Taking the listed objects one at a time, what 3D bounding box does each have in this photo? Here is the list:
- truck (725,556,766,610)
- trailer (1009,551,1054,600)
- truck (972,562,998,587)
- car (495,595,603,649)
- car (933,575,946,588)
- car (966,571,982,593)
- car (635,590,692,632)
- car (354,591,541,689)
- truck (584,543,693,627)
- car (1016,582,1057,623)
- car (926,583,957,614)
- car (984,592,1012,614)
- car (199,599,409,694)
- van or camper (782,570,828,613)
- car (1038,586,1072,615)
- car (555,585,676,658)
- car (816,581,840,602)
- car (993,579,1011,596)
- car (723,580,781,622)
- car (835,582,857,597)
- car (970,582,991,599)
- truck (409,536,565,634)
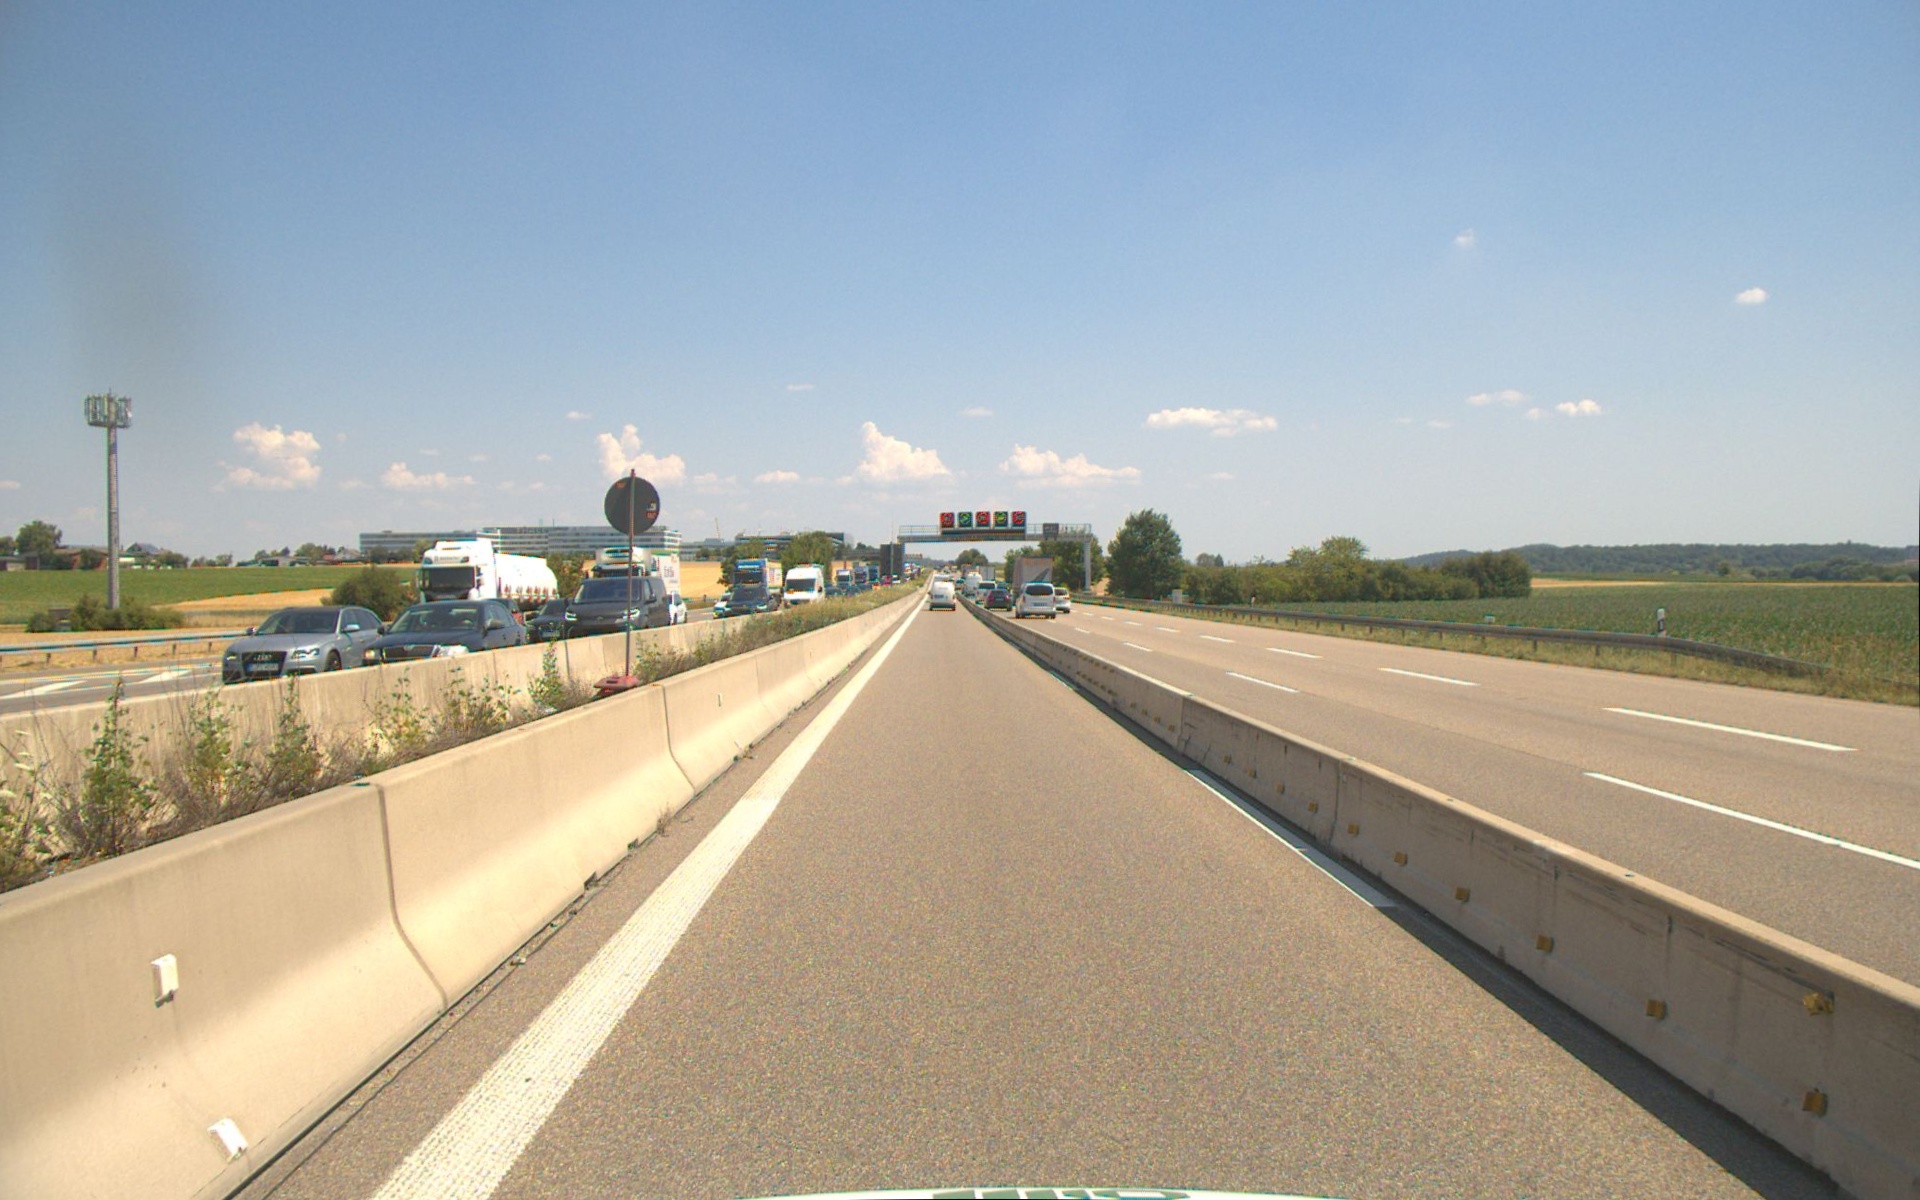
[{"bbox_3d":[-17.380,-1.383,134.339,2.753,4.200,4.841,-1,1,-1],"label":"truck"},{"bbox_3d":[6.015,-2.027,140.497,3.211,4.036,9.110,0,0,-1],"label":"trailer"},{"bbox_3d":[3.926,-4.094,265.432,3.738,3.973,9.578,-1,1,-1],"label":"truck"},{"bbox_3d":[-11.895,0.600,48.189,1.973,1.410,5.084,-1,1,-1],"label":"car"},{"bbox_3d":[-3.094,-2.823,248.107,1.953,1.867,3.999,0,0,-1],"label":"car"},{"bbox_3d":[1.578,-2.026,187.950,1.737,2.434,3.999,0,0,-1],"label":"car"},{"bbox_3d":[-12.045,0.424,67.453,1.527,1.650,4.045,-1,1,1],"label":"car"},{"bbox_3d":[-7.820,0.554,25.629,1.622,1.375,4.266,0,0,-1],"label":"car"},{"bbox_3d":[-15.668,-0.747,81.731,2.738,3.672,13.287,-3,0,0],"label":"truck"},{"bbox_3d":[4.091,0.115,88.798,1.953,2.157,3.999,0,0,-1],"label":"car"},{"bbox_3d":[-1.230,-0.086,109.236,1.953,2.049,3.999,0,0,-1],"label":"car"},{"bbox_3d":[2.548,0.179,111.484,1.737,1.472,3.999,0,0,-1],"label":"car"},{"bbox_3d":[-11.517,0.753,29.435,1.809,1.508,4.921,0,0,-1],"label":"car"},{"bbox_3d":[-8.599,-0.503,92.097,1.994,2.260,7.206,1,1,-1],"label":"van or camper"},{"bbox_3d":[6.134,0.045,107.031,1.953,1.825,3.999,0,0,-1],"label":"car"},{"bbox_3d":[-8.039,0.447,39.070,1.806,1.597,5.344,0,0,-1],"label":"car"},{"bbox_3d":[-10.132,-0.668,127.370,1.565,1.494,4.532,-1,1,-1],"label":"car"},{"bbox_3d":[4.979,-1.463,195.630,1.953,2.049,3.999,0,0,-1],"label":"car"},{"bbox_3d":[-8.194,0.011,65.487,1.746,1.617,4.540,0,0,-1],"label":"car"},{"bbox_3d":[-10.476,-0.954,152.321,1.743,1.358,4.928,1,0,-1],"label":"car"},{"bbox_3d":[1.773,-0.805,146.135,1.737,1.472,3.999,0,0,-1],"label":"car"},{"bbox_3d":[-20.737,-0.670,73.605,2.840,3.842,13.289,-3,1,0],"label":"truck"}]
